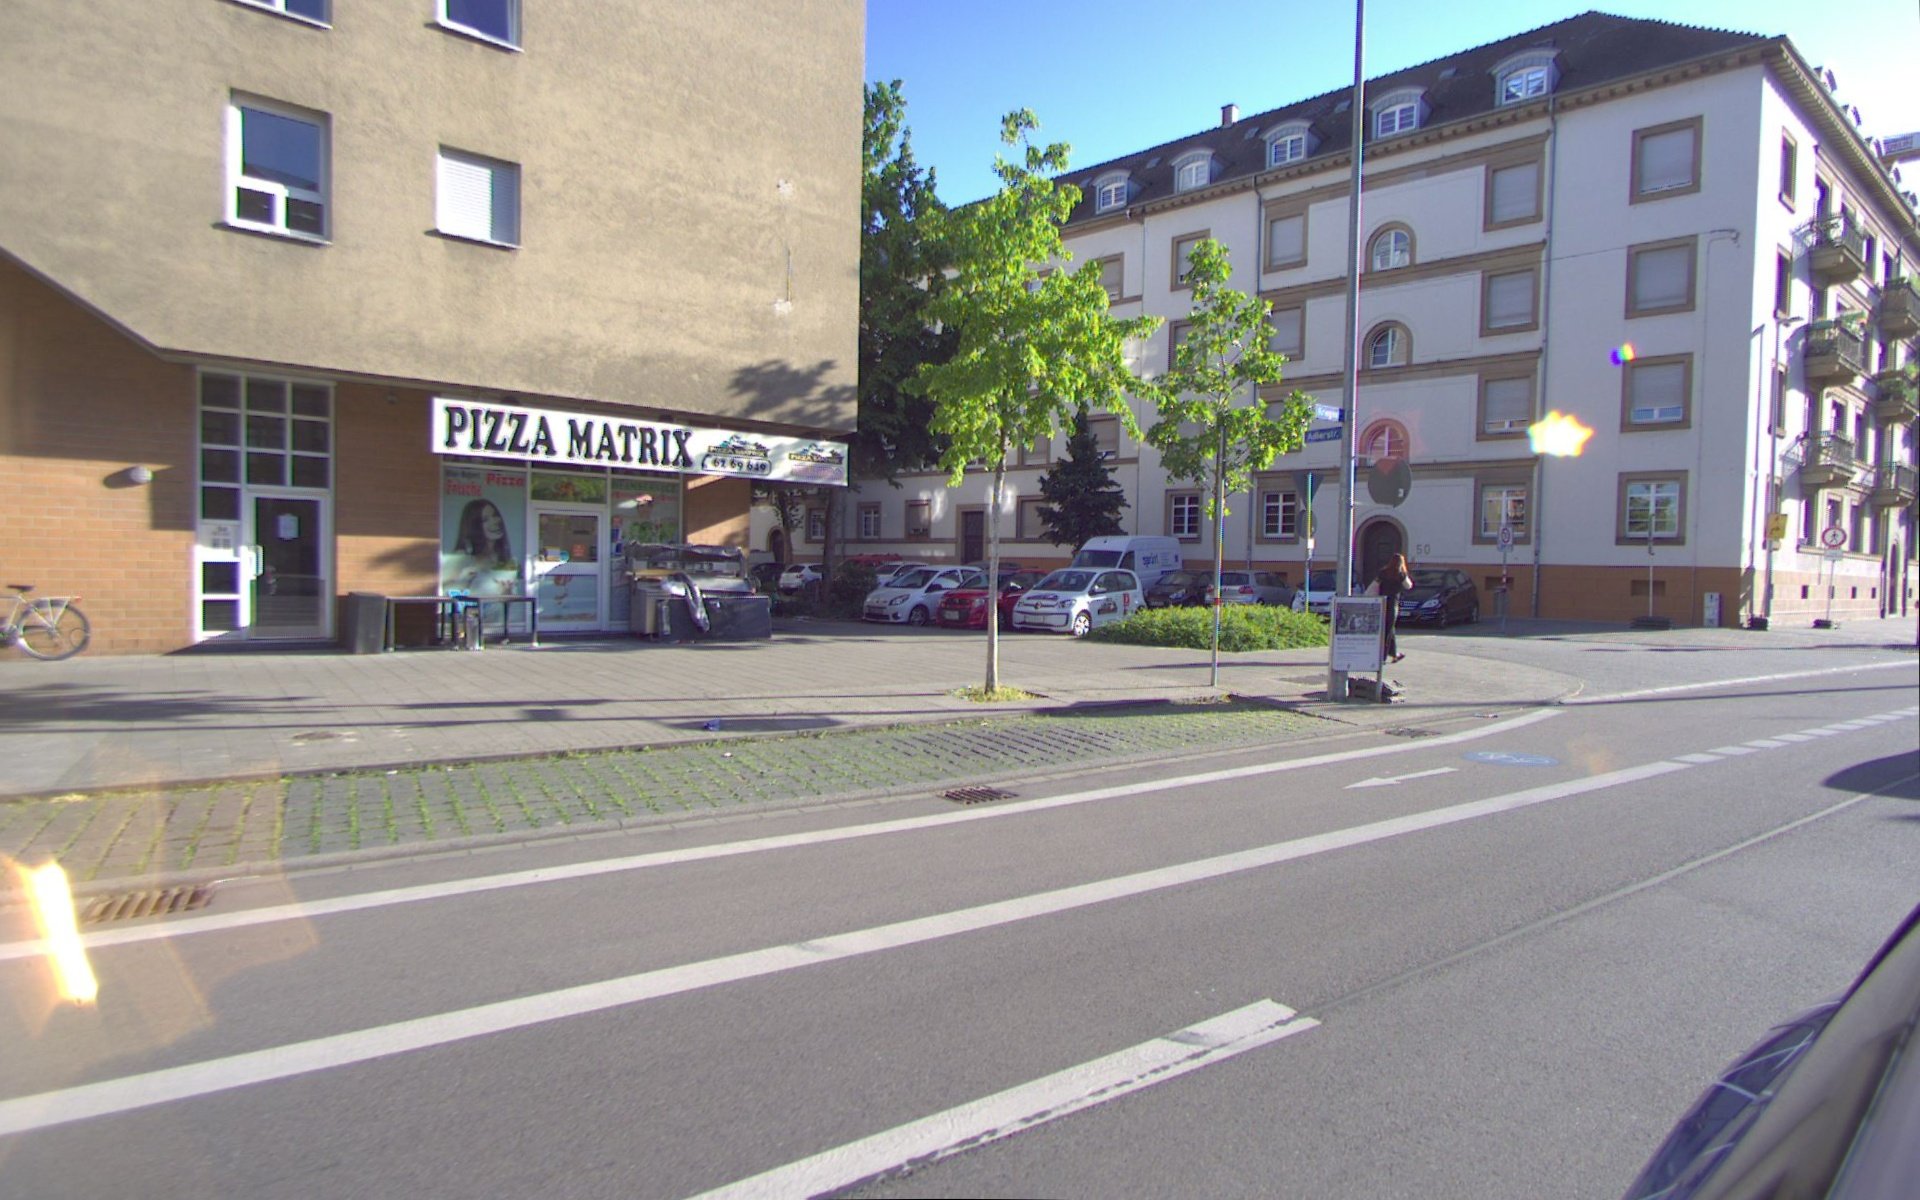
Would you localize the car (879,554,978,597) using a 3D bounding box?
[{"bbox_3d":[-1.220,-0.942,40.646,1.691,1.636,3.935,0,0,45],"label":"car"}]

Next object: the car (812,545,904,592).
[{"bbox_3d":[-4.455,-1.350,44.424,1.689,1.961,3.940,0,0,42],"label":"car"}]

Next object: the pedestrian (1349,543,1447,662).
[{"bbox_3d":[6.899,0.005,15.970,1.083,1.784,0.888,-1,4,-29],"label":"pedestrian"}]

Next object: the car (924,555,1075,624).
[{"bbox_3d":[0.975,-0.232,23.529,1.631,1.471,3.601,0,0,41],"label":"car"}]

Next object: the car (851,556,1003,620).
[{"bbox_3d":[-0.768,-0.301,25.183,1.632,1.473,3.675,0,0,44],"label":"car"}]

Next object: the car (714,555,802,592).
[{"bbox_3d":[-9.709,-1.256,48.740,1.735,1.701,3.940,0,0,42],"label":"car"}]

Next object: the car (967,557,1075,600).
[{"bbox_3d":[2.278,-0.766,37.228,3.932,1.509,1.692,-1,0,-42],"label":"car"}]

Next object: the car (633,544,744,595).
[{"bbox_3d":[-10.127,-1.154,37.633,4.383,1.719,1.969,4,3,43],"label":"car"}]

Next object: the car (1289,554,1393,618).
[{"bbox_3d":[11.393,-0.479,30.090,1.621,1.707,4.379,1,3,39],"label":"car"}]

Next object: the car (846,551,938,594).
[{"bbox_3d":[-2.852,-1.120,42.840,1.687,1.749,3.944,0,0,39],"label":"car"}]

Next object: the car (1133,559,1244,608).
[{"bbox_3d":[7.603,-0.573,33.373,1.691,1.497,4.375,0,2,41],"label":"car"}]

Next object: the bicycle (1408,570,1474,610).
[{"bbox_3d":[15.007,-0.314,31.582,1.801,1.178,0.401,2,3,38],"label":"bicycle"}]

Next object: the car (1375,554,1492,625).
[{"bbox_3d":[13.191,-0.361,28.083,1.692,1.706,4.373,2,5,43],"label":"car"}]

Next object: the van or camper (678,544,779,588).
[{"bbox_3d":[-11.596,-1.656,50.907,1.814,2.124,4.811,0,0,43],"label":"van or camper"}]

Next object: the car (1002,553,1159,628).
[{"bbox_3d":[2.703,-0.206,22.056,1.659,1.493,3.782,0,0,39],"label":"car"}]

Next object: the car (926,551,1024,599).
[{"bbox_3d":[0.612,-0.945,39.050,1.538,1.761,3.937,0,0,44],"label":"car"}]

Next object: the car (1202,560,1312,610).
[{"bbox_3d":[9.346,-0.512,31.615,1.690,1.447,4.376,0,2,40],"label":"car"}]

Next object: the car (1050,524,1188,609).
[{"bbox_3d":[5.512,-1.239,34.376,1.921,2.640,5.880,2,5,40],"label":"car"}]

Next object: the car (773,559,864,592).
[{"bbox_3d":[-6.418,-1.091,46.189,1.690,1.454,3.937,0,0,44],"label":"car"}]

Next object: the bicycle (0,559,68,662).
[{"bbox_3d":[-11.493,0.119,11.896,1.511,1.183,0.614,0,3,-42],"label":"bicycle"}]
